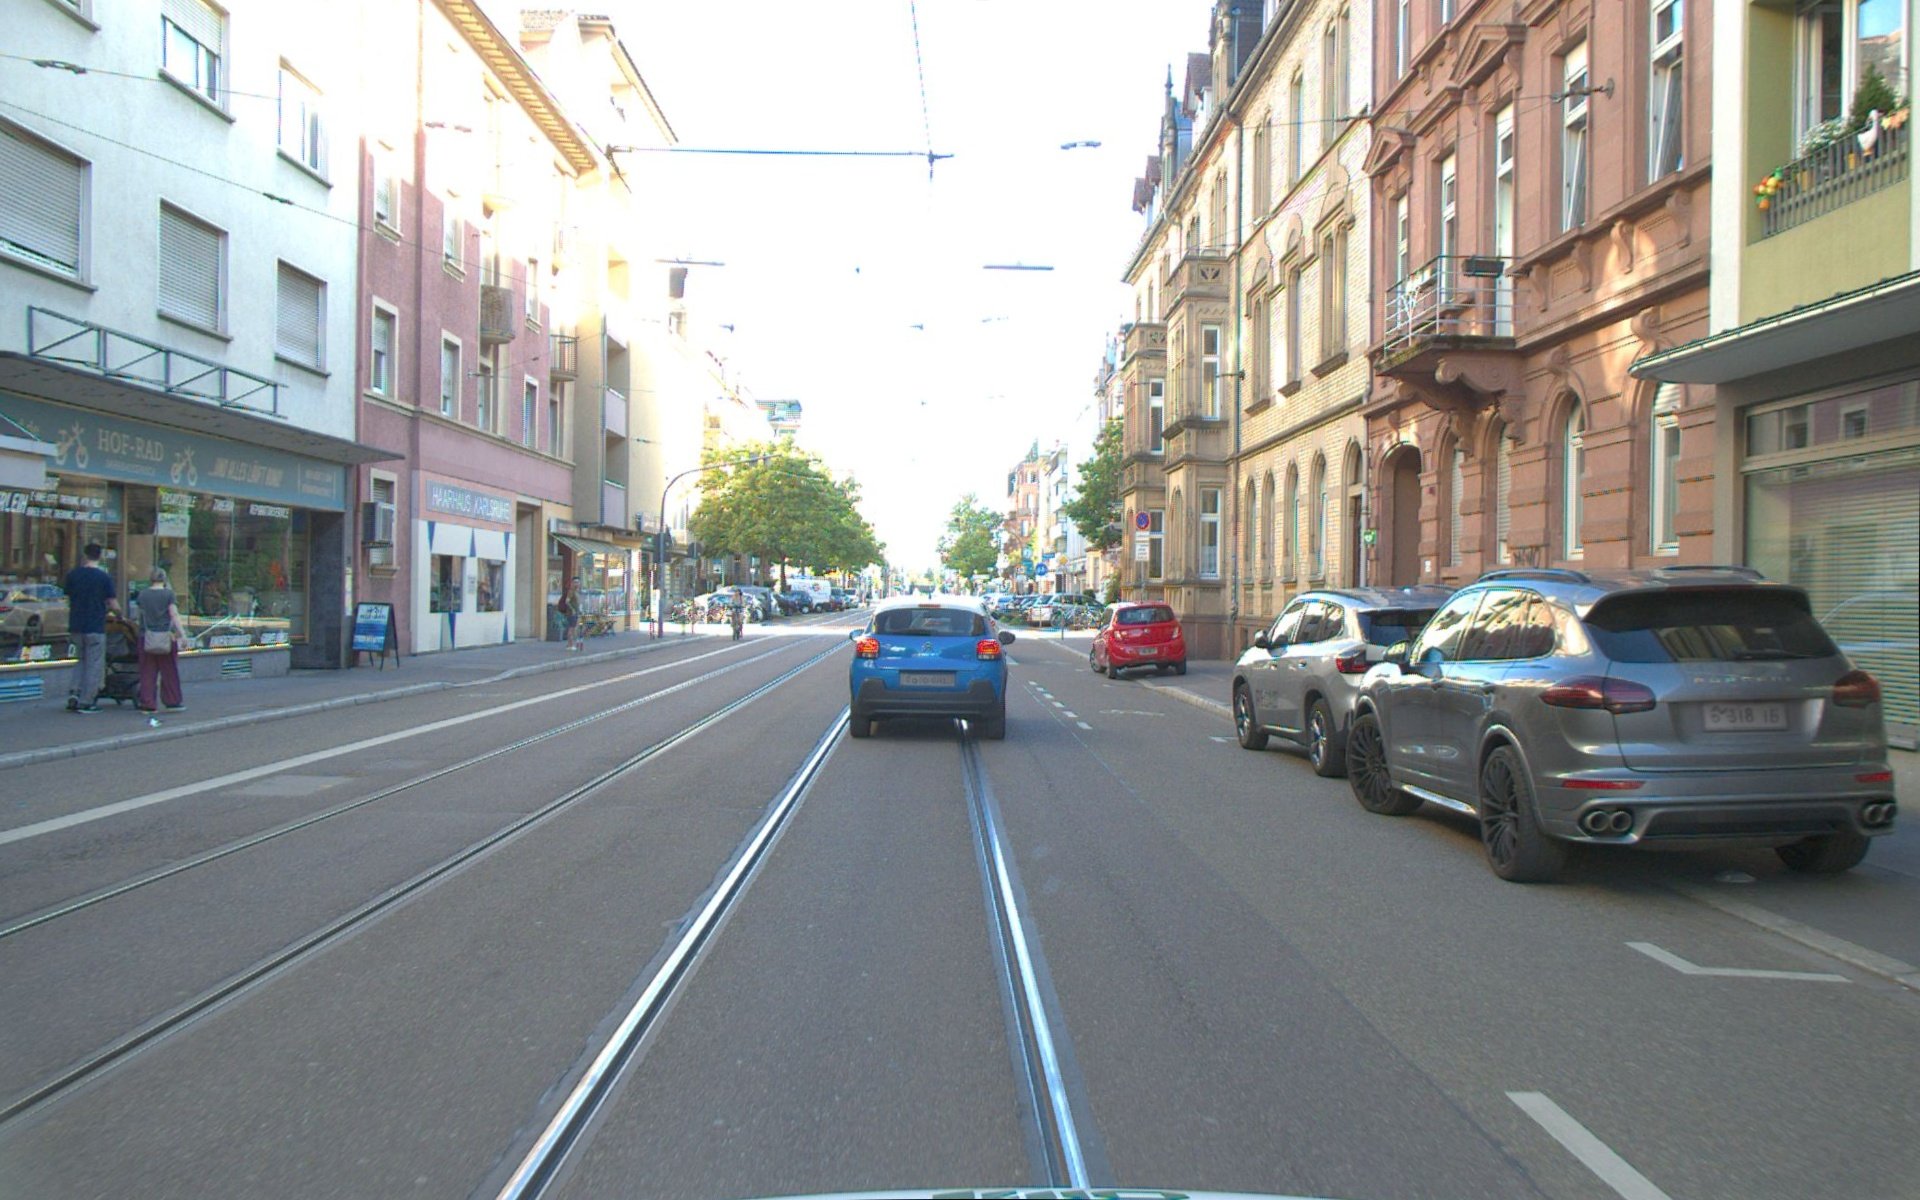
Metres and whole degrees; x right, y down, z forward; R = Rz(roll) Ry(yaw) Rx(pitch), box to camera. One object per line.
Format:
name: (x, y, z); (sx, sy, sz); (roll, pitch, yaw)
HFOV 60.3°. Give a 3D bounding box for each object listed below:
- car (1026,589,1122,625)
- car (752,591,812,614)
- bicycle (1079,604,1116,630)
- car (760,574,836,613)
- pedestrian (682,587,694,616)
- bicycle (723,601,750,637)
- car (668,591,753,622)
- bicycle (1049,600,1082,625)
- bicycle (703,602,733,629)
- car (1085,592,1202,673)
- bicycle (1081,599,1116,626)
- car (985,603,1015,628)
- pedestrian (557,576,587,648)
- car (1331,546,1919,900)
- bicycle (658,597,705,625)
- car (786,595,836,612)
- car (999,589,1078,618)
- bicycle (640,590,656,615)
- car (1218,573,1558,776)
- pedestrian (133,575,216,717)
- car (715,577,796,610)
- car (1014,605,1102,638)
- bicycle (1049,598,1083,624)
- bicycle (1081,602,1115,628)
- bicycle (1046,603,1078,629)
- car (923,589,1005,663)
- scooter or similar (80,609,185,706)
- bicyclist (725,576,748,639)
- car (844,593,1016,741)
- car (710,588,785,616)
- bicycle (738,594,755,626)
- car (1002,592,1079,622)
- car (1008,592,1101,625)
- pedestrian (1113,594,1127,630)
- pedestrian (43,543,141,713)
car: (5.497, 0.319, 79.938); (4.297, 1.624, 1.838); (1, 0, -26)
car: (-12.600, 0.165, 116.866); (3.924, 1.515, 1.797); (1, 0, -18)
bicycle: (6.284, 0.784, 75.414); (1.639, 1.147, 0.552); (1, 0, 5)
car: (-12.020, -0.480, 123.018); (5.316, 2.797, 1.787); (2, -1, -31)
pedestrian: (-15.949, 0.106, 97.138); (0.557, 1.681, 0.641); (1, -1, -1)
bicycle: (-7.260, 0.609, 53.787); (0.590, 1.115, 2.044); (-1, 0, 0)
car: (-12.158, 0.328, 80.673); (3.746, 1.424, 1.734); (2, 0, -34)
bicycle: (4.873, 0.562, 76.305); (1.523, 1.098, 0.307); (1, -1, 5)
bicycle: (-11.006, 0.700, 75.065); (0.675, 1.143, 1.868); (0, 2, -31)
car: (3.764, 0.650, 34.592); (1.828, 1.508, 4.400); (-2, 0, -1)
bicycle: (6.230, 0.565, 74.214); (1.523, 1.147, 0.552); (1, 0, 5)
car: (2.672, 1.020, 110.592); (1.835, 1.624, 4.718); (1, 0, -1)
pedestrian: (-9.457, 0.289, 40.338); (0.552, 1.715, 0.616); (1, -1, -2)
car: (3.931, 0.599, 10.462); (1.953, 1.644, 4.784); (-2, 0, -1)
bicycle: (-12.525, 0.503, 74.426); (2.390, 1.128, 0.680); (3, 3, 40)
car: (-12.000, 0.309, 133.548); (3.751, 1.287, 1.503); (1, 0, -27)
car: (4.655, 0.213, 98.332); (4.249, 1.624, 1.966); (1, 0, -26)
bicycle: (-14.127, 0.128, 74.873); (0.397, 1.129, 1.825); (1, 0, -22)
car: (3.954, 0.639, 16.116); (1.829, 1.675, 4.396); (1, 0, -5)
pedestrian: (-8.942, 0.514, 18.845); (0.623, 1.576, 0.623); (1, -1, -1)
car: (-11.967, -0.374, 97.009); (4.313, 1.814, 1.973); (2, 0, -34)
car: (4.871, 1.064, 82.097); (3.937, 1.563, 1.903); (1, 0, -26)
bicycle: (4.901, 0.514, 76.647); (1.527, 1.147, 0.295); (1, -1, 5)
bicycle: (6.249, 0.690, 74.801); (1.523, 1.147, 0.528); (1, 0, 5)
bicycle: (4.591, 0.708, 74.434); (1.369, 1.147, 0.551); (1, 0, -4)
car: (0.072, 0.586, 39.333); (1.835, 1.624, 3.999); (1, 0, -1)
scooter or similar: (-9.632, 0.655, 19.290); (0.648, 1.080, 1.105); (1, 0, -1)
bicyclist: (-7.282, 0.244, 53.966); (0.599, 2.049, 0.733); (1, -1, -1)
car: (-0.339, 0.690, 18.667); (1.726, 1.466, 3.556); (1, 0, -1)
car: (-11.826, 0.131, 92.168); (3.786, 1.455, 1.751); (1, 0, -27)
bicycle: (-9.659, 0.449, 74.894); (0.668, 1.342, 2.434); (1, 2, -5)
car: (4.627, 0.388, 95.598); (3.937, 1.624, 2.071); (1, 0, -26)
car: (4.905, 0.435, 85.677); (4.379, 1.624, 2.072); (1, 0, -26)
pedestrian: (7.594, 0.561, 78.547); (0.507, 1.677, 0.863); (1, 0, -1)
pedestrian: (-9.579, 0.300, 18.281); (0.613, 1.821, 0.821); (1, 0, -1)
